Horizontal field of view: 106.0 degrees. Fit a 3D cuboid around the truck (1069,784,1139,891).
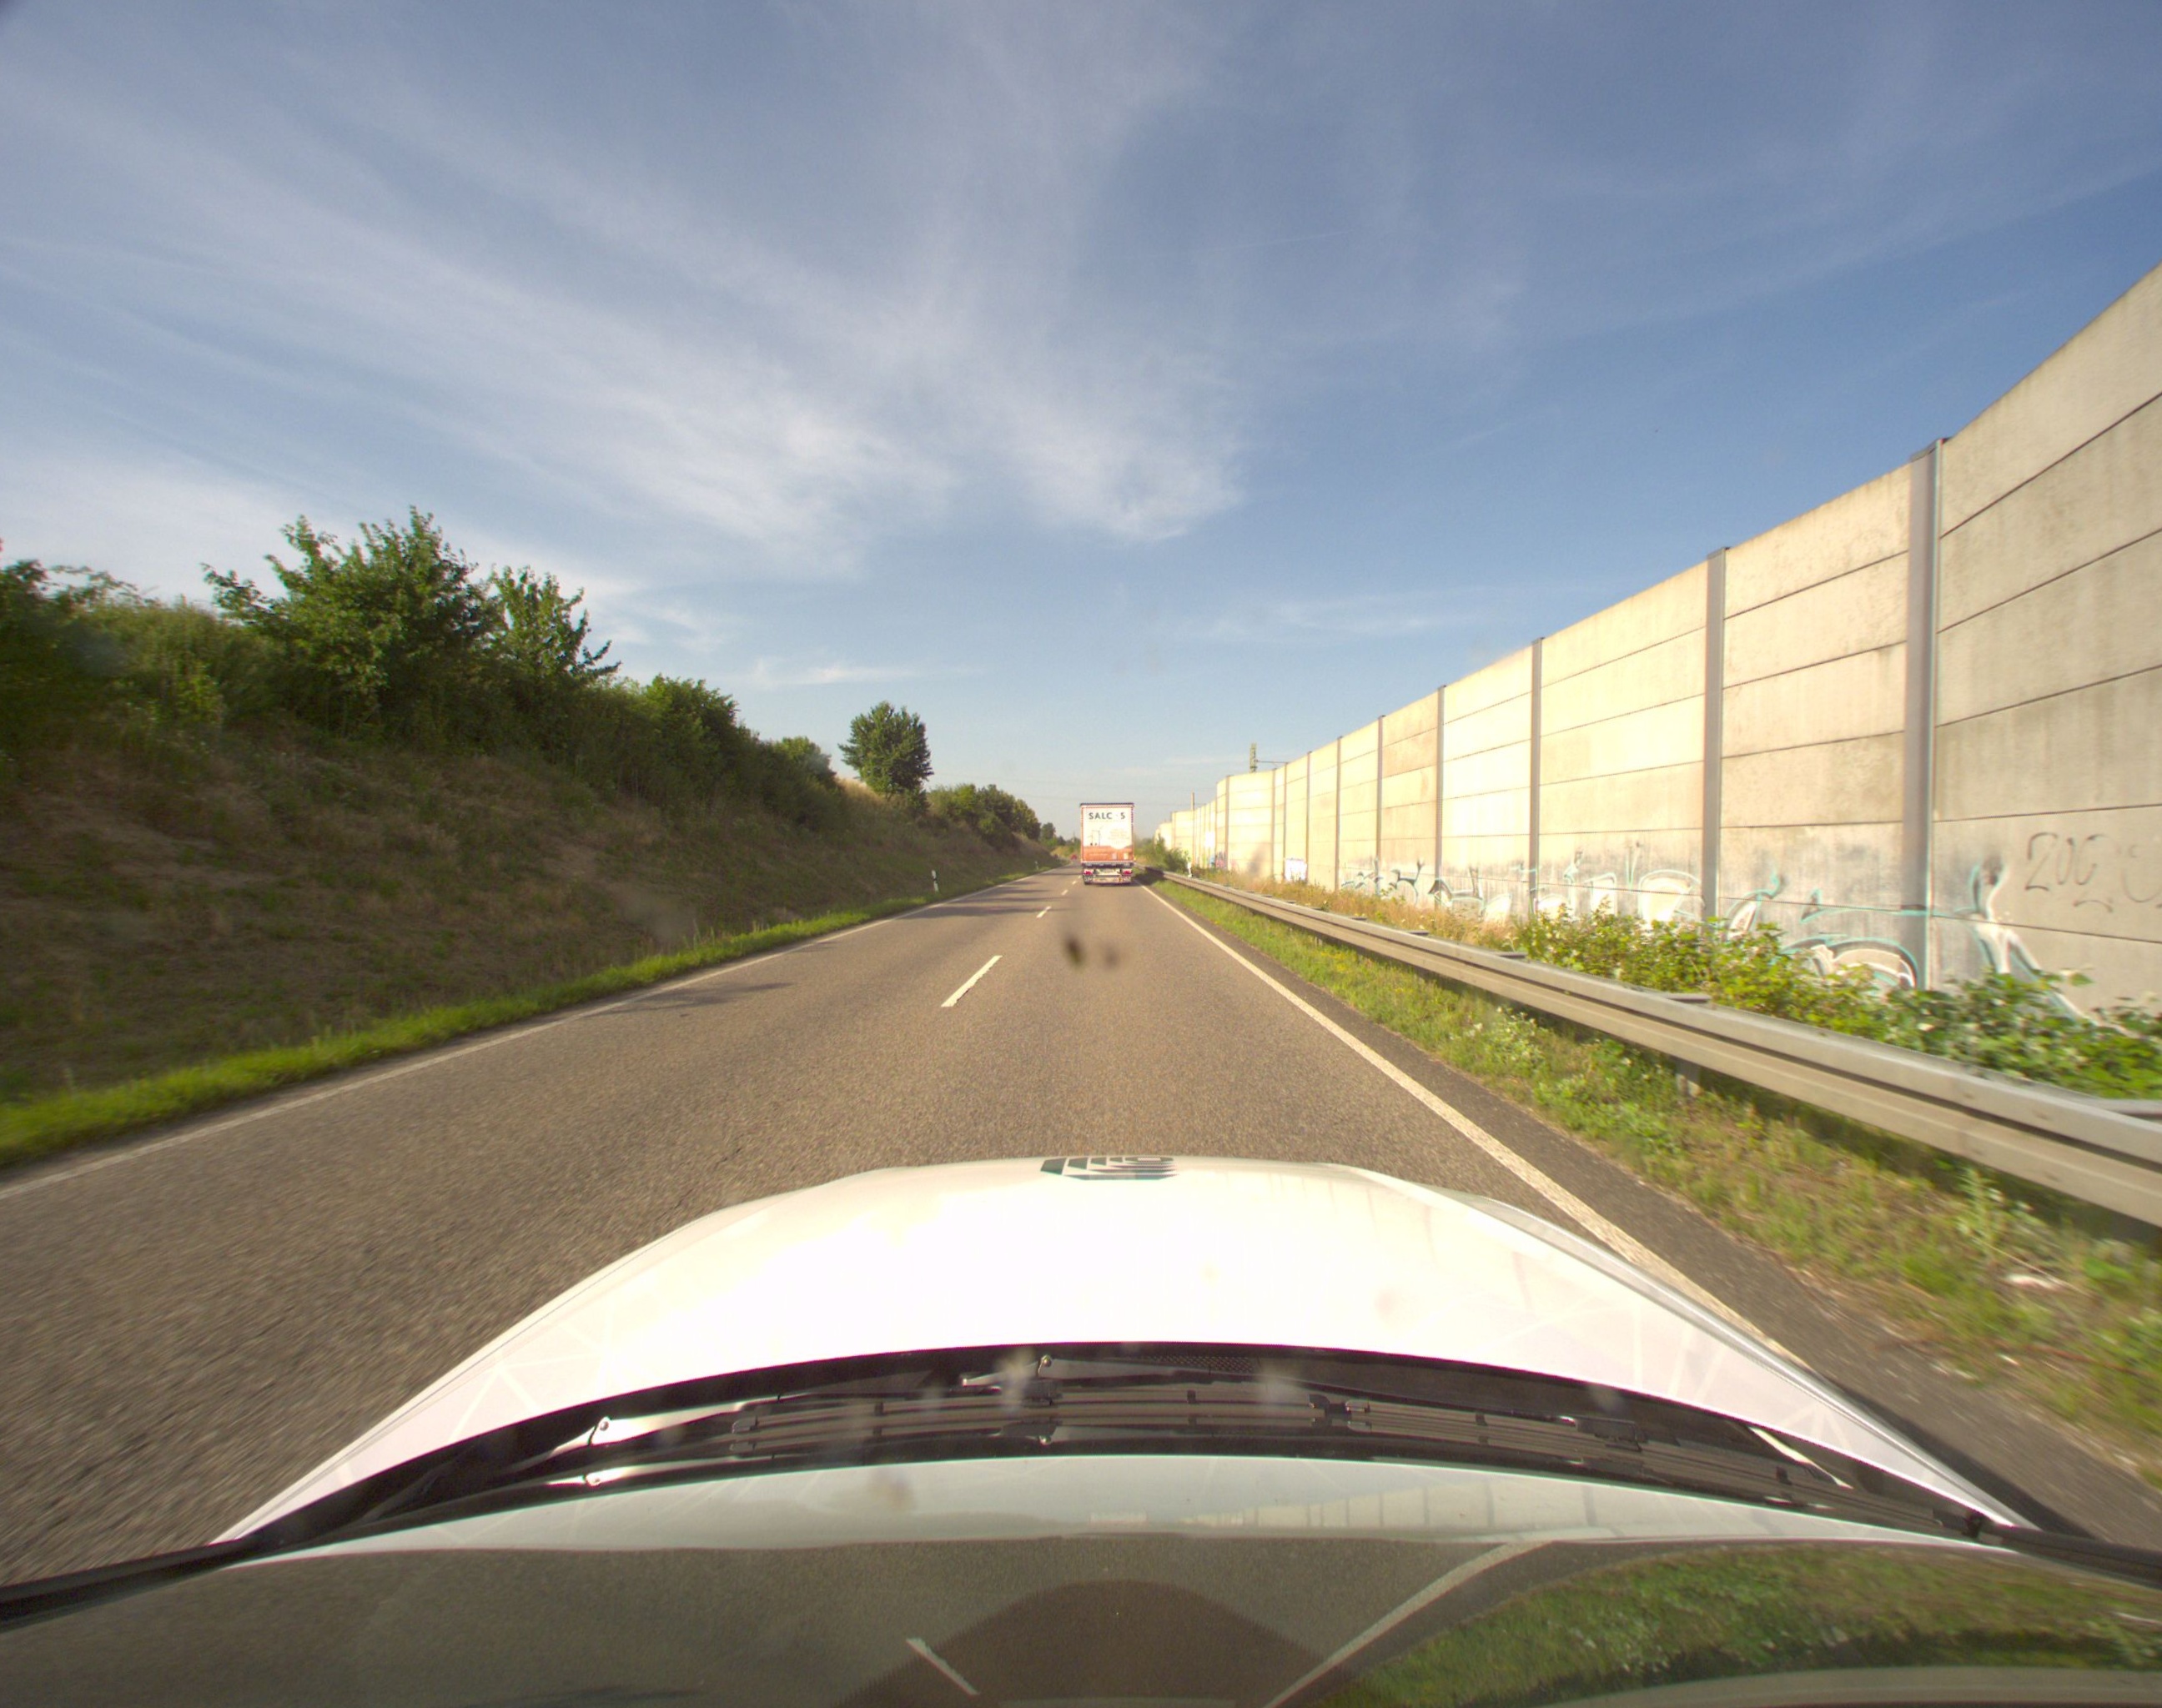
[{"bbox_3d":[1.095,-0.827,45.073,3.280,5.090,12.035,-1,0,0],"label":"truck"}]
